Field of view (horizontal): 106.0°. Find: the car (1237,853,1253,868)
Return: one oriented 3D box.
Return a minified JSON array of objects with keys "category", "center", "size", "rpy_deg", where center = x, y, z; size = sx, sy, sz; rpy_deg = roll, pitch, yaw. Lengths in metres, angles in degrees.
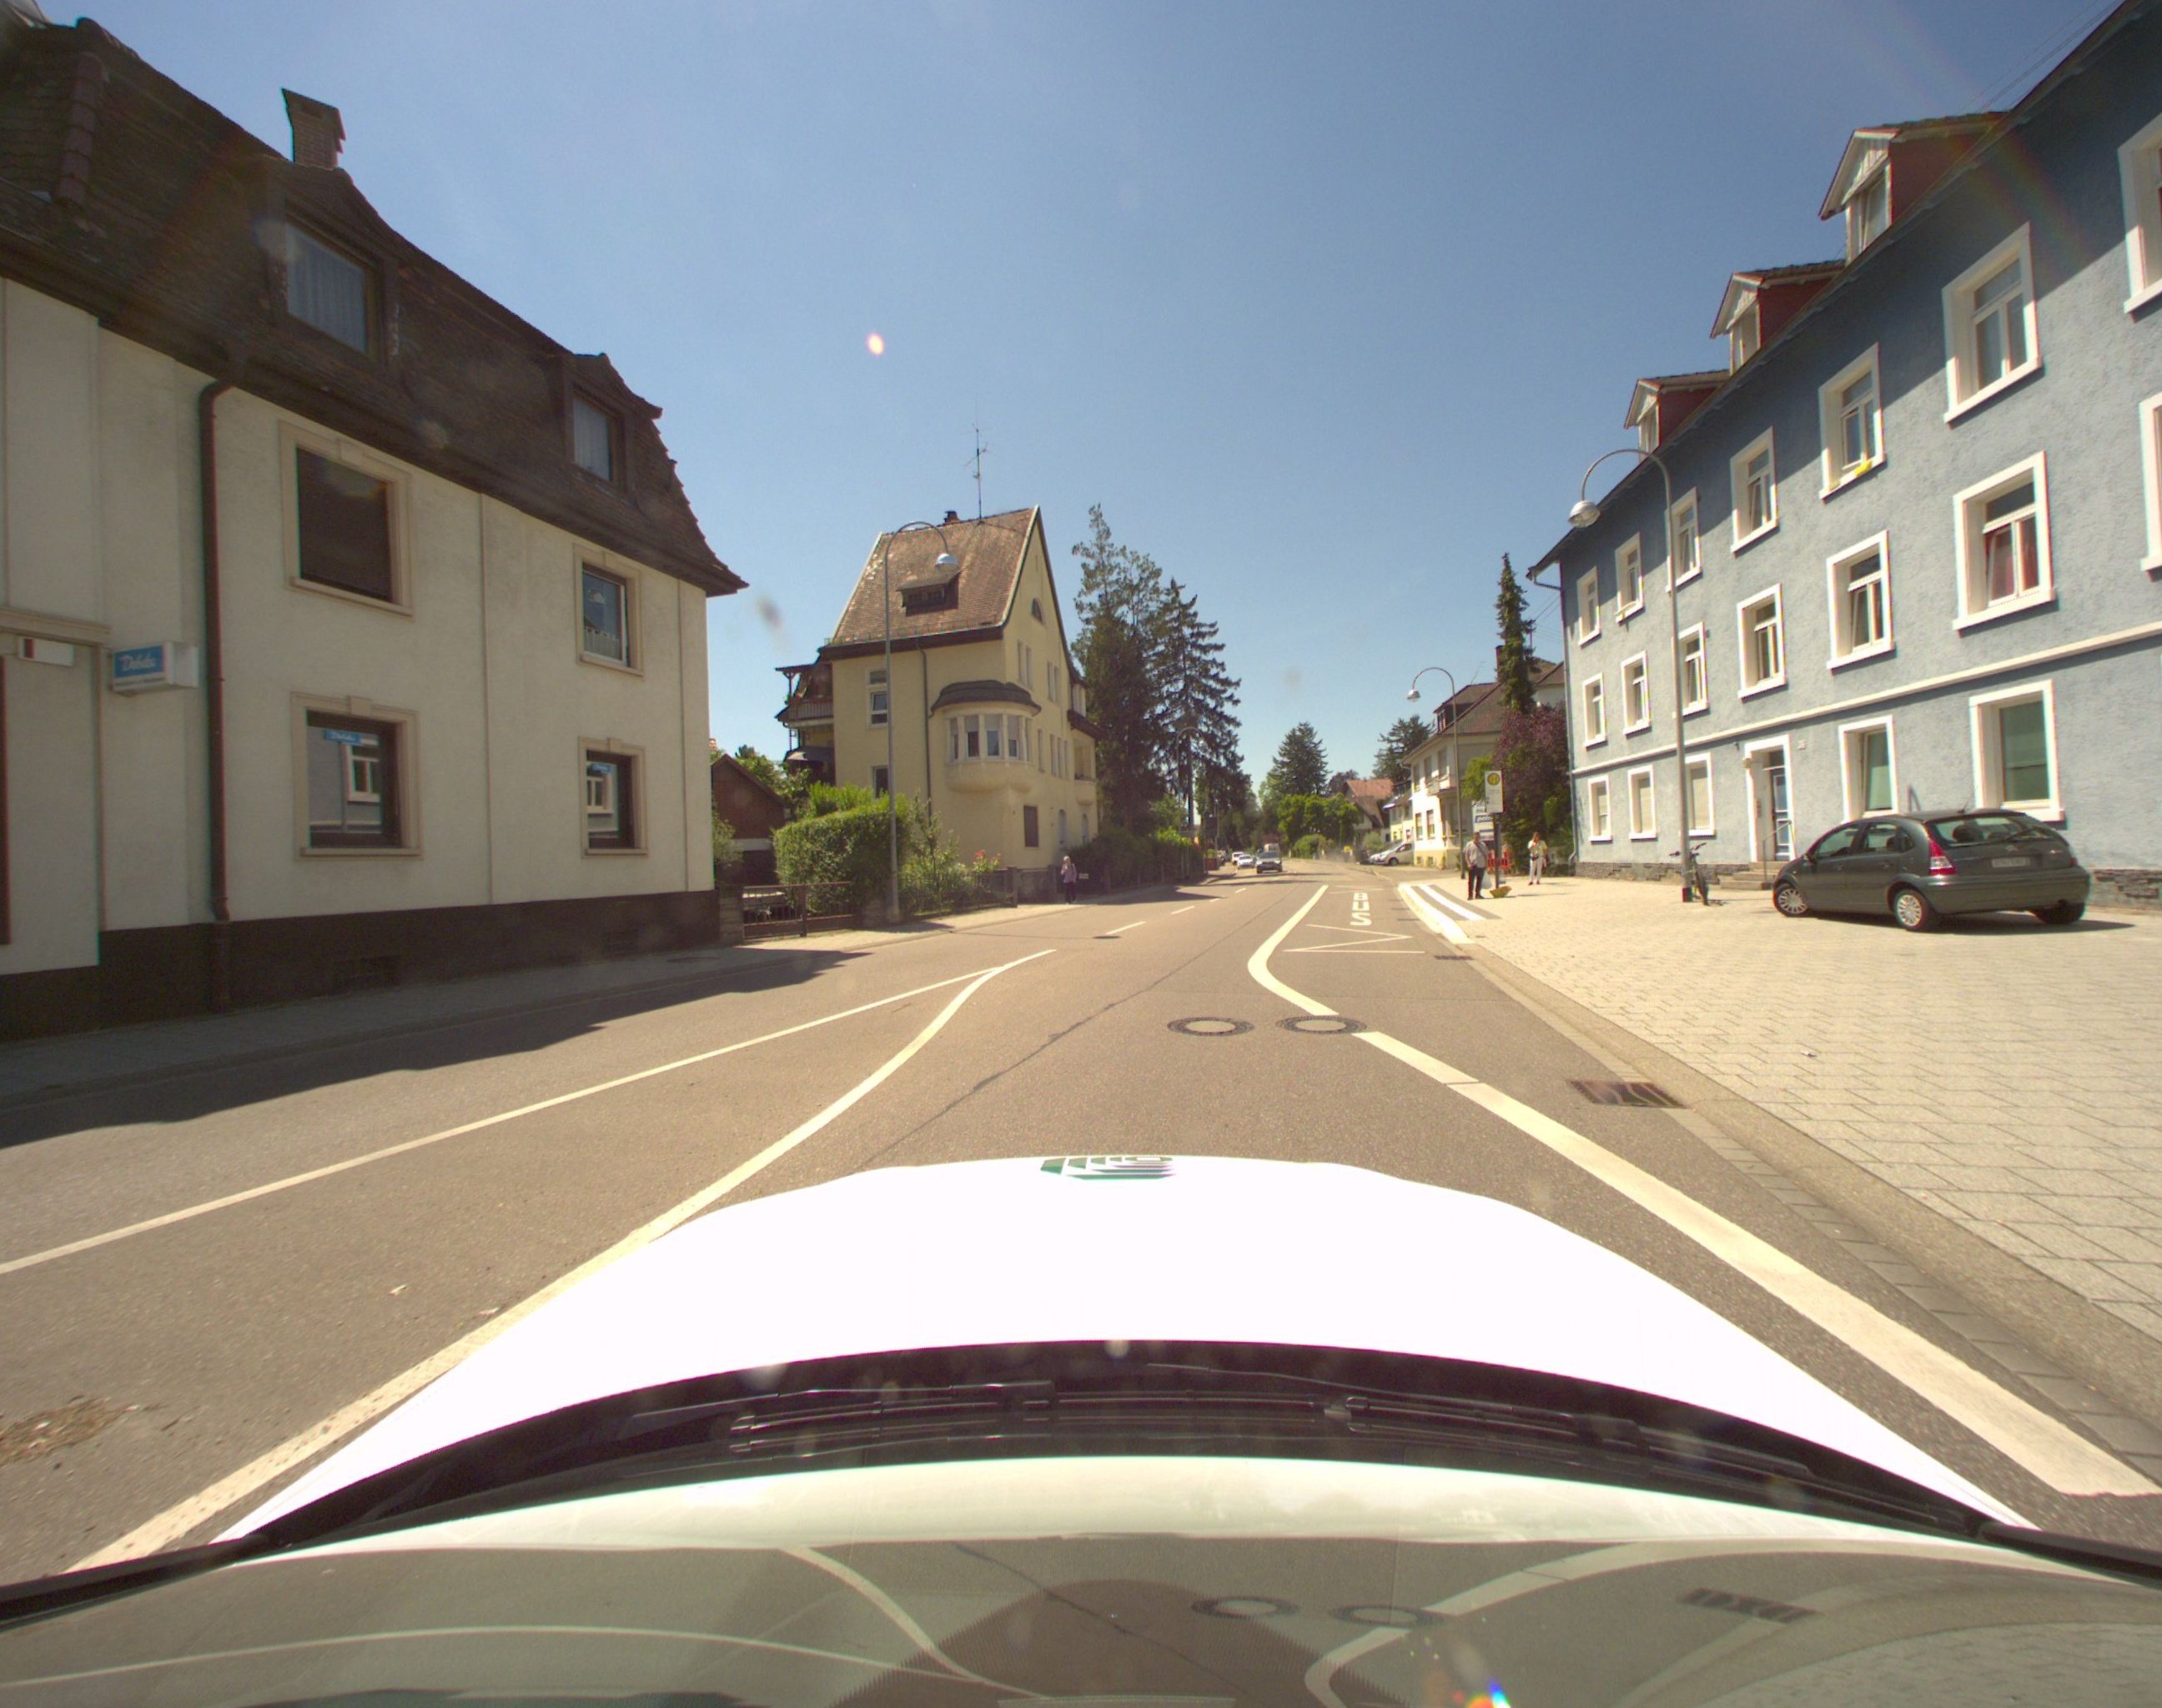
[{"category":"car","center":[17.232,0.642,85.667],"size":[1.568,1.423,3.952],"rpy_deg":[-5,0,10]}]

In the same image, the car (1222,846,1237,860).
[{"category":"car","center":[20.809,-0.117,114.261],"size":[1.713,1.736,3.896],"rpy_deg":[-5,0,8]}]

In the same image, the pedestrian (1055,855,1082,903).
[{"category":"pedestrian","center":[-0.413,0.836,27.591],"size":[0.608,1.564,0.828],"rpy_deg":[3,1,16]}]

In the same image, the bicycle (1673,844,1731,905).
[{"category":"bicycle","center":[12.044,0.369,15.843],"size":[0.625,1.039,1.895],"rpy_deg":[-6,-1,31]}]

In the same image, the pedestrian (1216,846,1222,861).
[{"category":"pedestrian","center":[18.188,-0.095,107.335],"size":[0.684,1.889,1.022],"rpy_deg":[2,0,14]}]

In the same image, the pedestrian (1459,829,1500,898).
[{"category":"pedestrian","center":[10.897,0.266,22.292],"size":[0.610,1.805,0.752],"rpy_deg":[-6,-2,8]}]

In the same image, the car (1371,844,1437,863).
[{"category":"car","center":[25.065,-0.046,63.305],"size":[4.607,1.409,1.775],"rpy_deg":[1,1,13]}]

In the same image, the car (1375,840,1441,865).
[{"category":"car","center":[24.349,-0.126,60.694],"size":[4.271,1.831,1.741],"rpy_deg":[1,1,4]}]

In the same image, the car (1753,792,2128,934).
[{"category":"car","center":[11.603,0.117,11.437],"size":[1.746,1.514,3.755],"rpy_deg":[-6,-1,13]}]

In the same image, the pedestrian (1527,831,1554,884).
[{"category":"pedestrian","center":[14.486,0.114,25.671],"size":[0.608,1.616,0.755],"rpy_deg":[-5,-1,29]}]

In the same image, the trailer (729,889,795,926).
[{"category":"trailer","center":[-8.907,1.457,22.631],"size":[1.363,0.860,2.791],"rpy_deg":[-1,-1,-29]}]

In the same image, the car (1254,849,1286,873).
[{"category":"car","center":[14.493,0.535,62.218],"size":[1.838,1.616,4.317],"rpy_deg":[-5,-1,19]}]

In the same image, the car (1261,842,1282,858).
[{"category":"car","center":[29.056,-0.655,124.335],"size":[2.135,2.315,4.856],"rpy_deg":[-4,0,3]}]
